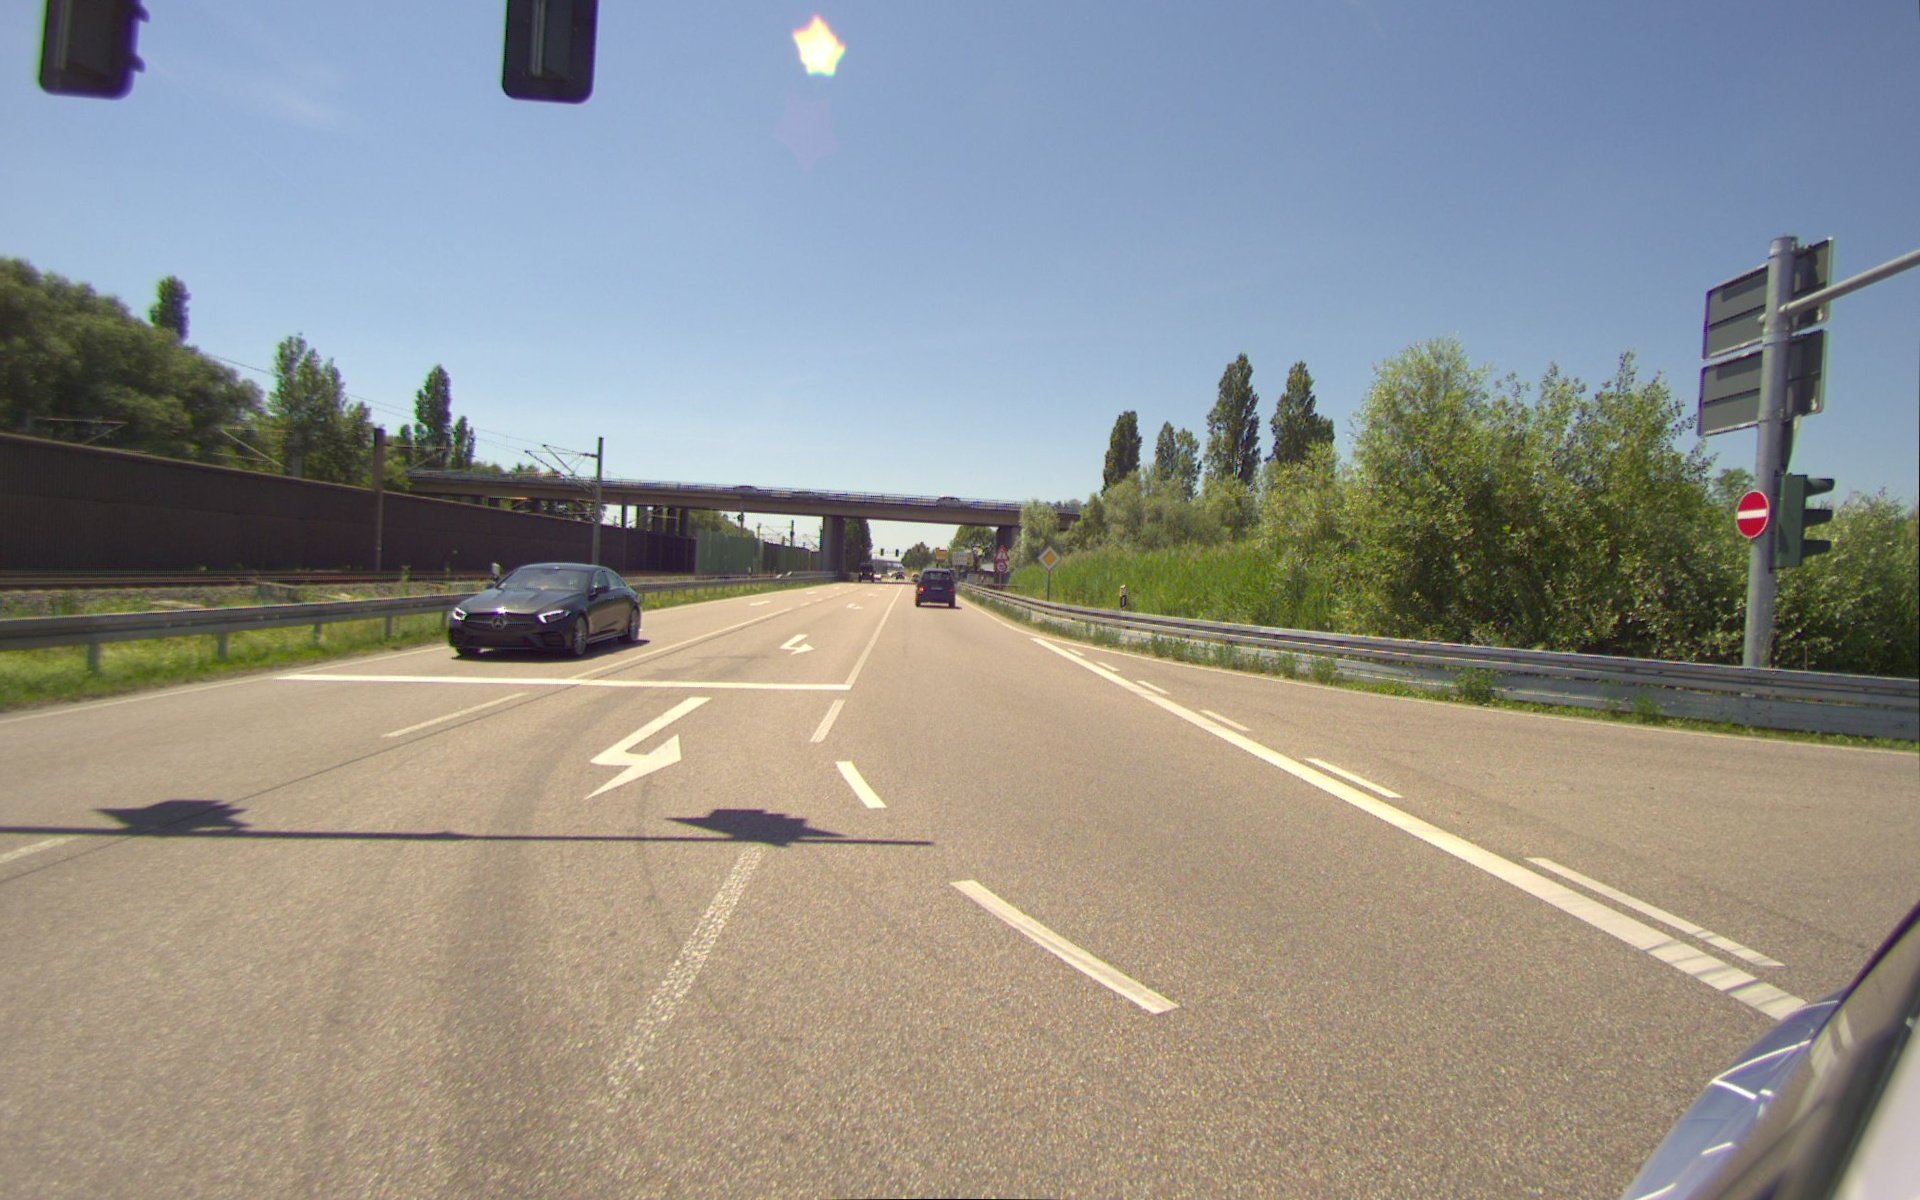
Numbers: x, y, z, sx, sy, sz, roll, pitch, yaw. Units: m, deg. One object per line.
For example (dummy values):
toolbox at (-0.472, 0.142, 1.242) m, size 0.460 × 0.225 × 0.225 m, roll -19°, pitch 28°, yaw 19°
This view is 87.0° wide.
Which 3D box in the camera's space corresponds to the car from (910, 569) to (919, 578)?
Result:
car at (-7.851, -4.528, 174.610) m, size 1.559 × 1.581 × 3.689 m, roll 1°, pitch 2°, yaw -2°

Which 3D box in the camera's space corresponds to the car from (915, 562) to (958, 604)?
car at (-1.028, -0.738, 42.762) m, size 1.611 × 1.616 × 3.564 m, roll 2°, pitch 1°, yaw -4°

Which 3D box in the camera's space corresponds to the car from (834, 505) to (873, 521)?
car at (-13.121, -10.789, 125.339) m, size 4.563 × 1.812 × 1.912 m, roll 1°, pitch 1°, yaw 3°

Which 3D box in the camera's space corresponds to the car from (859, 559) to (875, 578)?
car at (-12.094, -4.127, 131.880) m, size 1.876 × 2.472 × 4.651 m, roll 1°, pitch 1°, yaw -2°

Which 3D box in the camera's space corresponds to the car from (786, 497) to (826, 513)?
car at (-18.944, -11.647, 124.488) m, size 4.562 × 1.812 × 1.912 m, roll 1°, pitch 1°, yaw 2°

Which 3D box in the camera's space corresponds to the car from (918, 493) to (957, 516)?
car at (-2.680, -11.415, 121.011) m, size 4.563 × 2.472 × 1.912 m, roll 1°, pitch 1°, yaw 3°

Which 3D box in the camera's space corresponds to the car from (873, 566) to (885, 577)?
car at (-13.075, -4.608, 163.608) m, size 1.808 × 1.711 × 4.003 m, roll 2°, pitch 2°, yaw -2°

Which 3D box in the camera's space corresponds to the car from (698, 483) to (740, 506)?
car at (-28.850, -12.617, 121.259) m, size 4.563 × 2.472 × 1.912 m, roll 1°, pitch 1°, yaw 3°

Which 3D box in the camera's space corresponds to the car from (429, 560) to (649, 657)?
car at (-6.781, 0.057, 16.906) m, size 1.876 × 1.381 × 4.651 m, roll 1°, pitch 2°, yaw -2°

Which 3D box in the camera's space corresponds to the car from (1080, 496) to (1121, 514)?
car at (16.285, -11.060, 117.486) m, size 4.561 × 1.918 × 1.913 m, roll 1°, pitch 1°, yaw 1°
